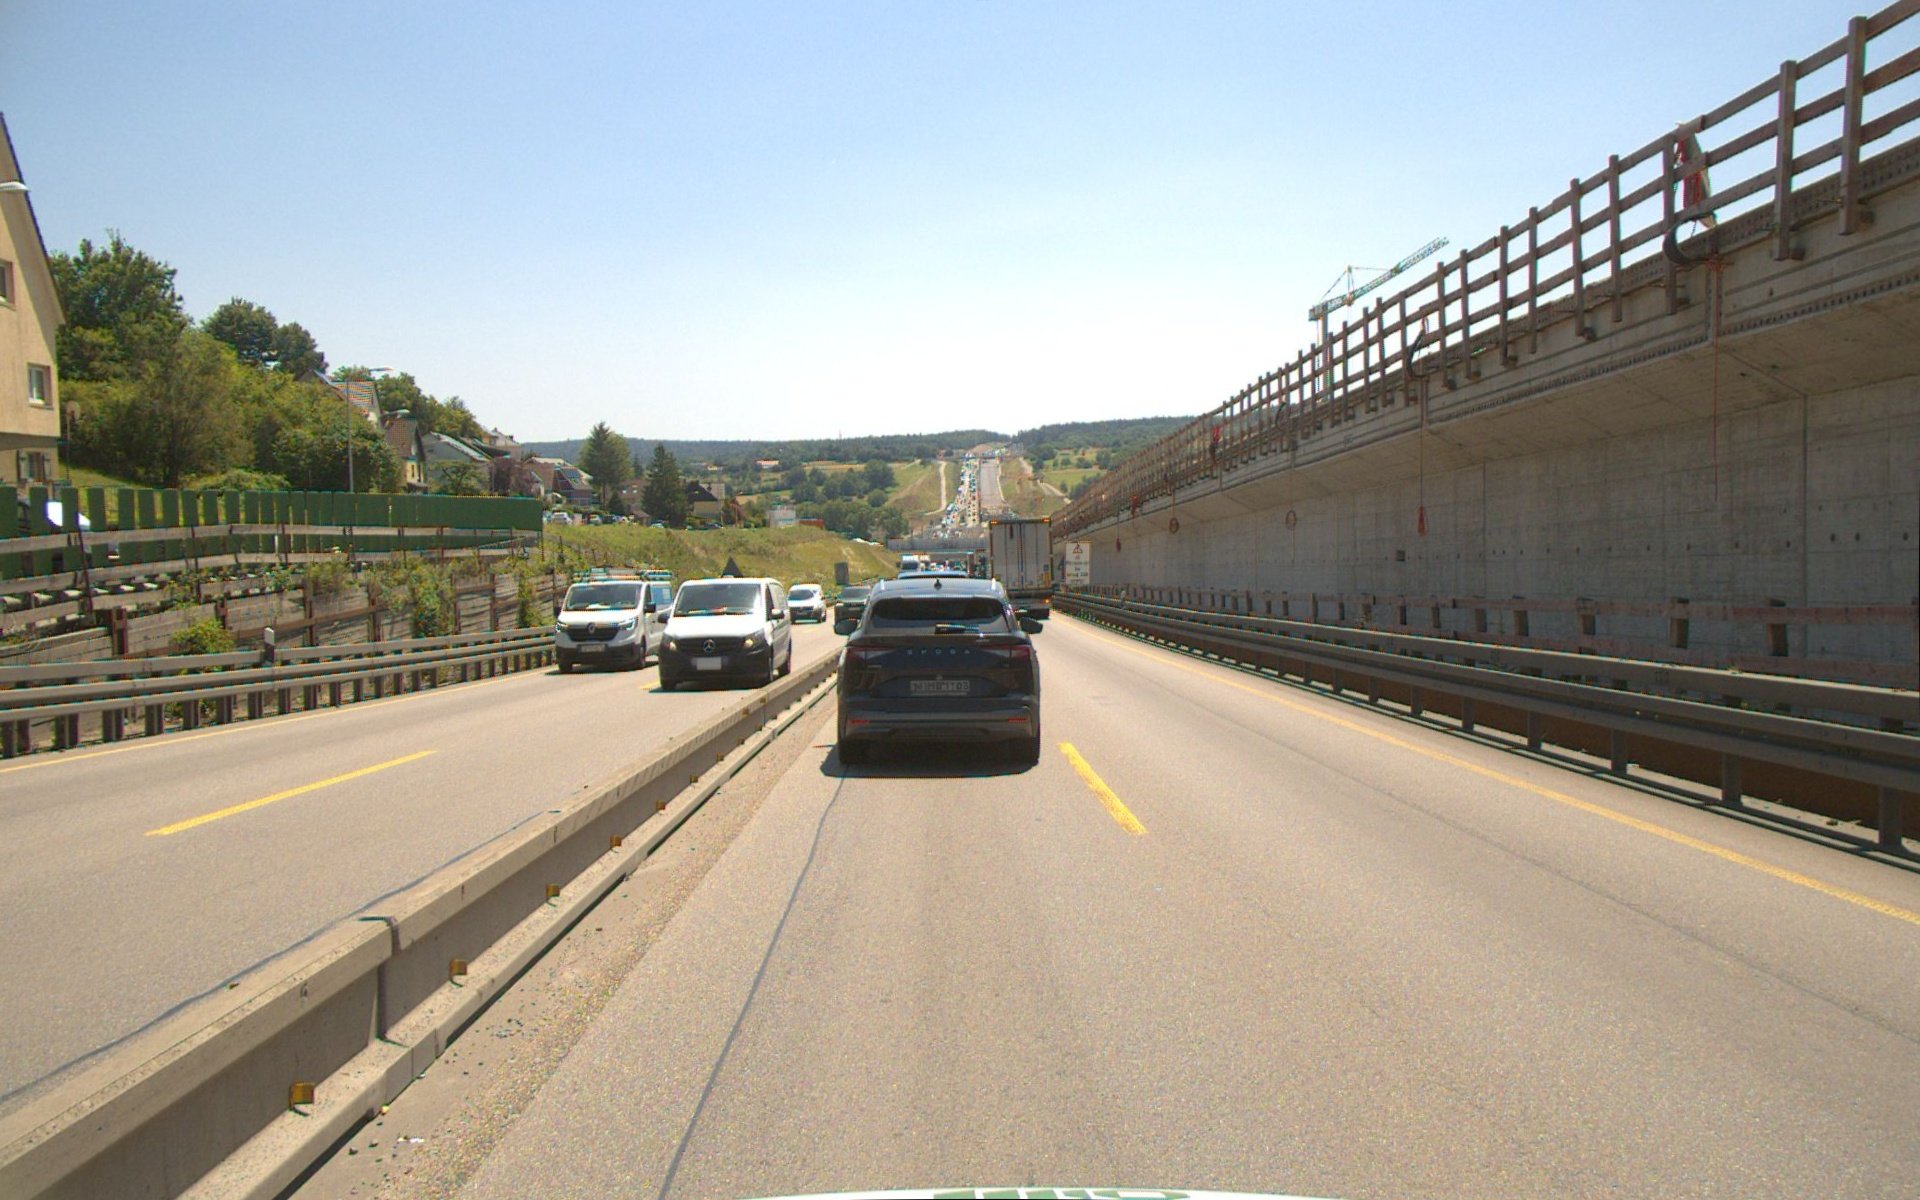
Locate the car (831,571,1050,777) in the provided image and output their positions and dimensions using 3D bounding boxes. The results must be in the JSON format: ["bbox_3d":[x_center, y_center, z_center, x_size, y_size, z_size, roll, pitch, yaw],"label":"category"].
[{"bbox_3d":[-0.193,0.593,15.489,1.747,1.625,3.754,-2,0,-1],"label":"car"}]

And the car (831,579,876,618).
[{"bbox_3d":[-4.659,-0.070,72.751,1.738,1.662,4.099,-1,0,-1],"label":"car"}]

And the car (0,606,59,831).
[{"bbox_3d":[-6.996,0.758,9.167,1.795,1.432,4.127,0,0,-1],"label":"car"}]

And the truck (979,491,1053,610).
[{"bbox_3d":[2.314,-1.953,72.232,2.787,4.696,11.811,-1,0,0],"label":"truck"}]

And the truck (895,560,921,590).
[{"bbox_3d":[-7.860,-3.721,249.975,3.121,4.312,6.472,-2,0,-8],"label":"truck"}]

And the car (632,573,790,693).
[{"bbox_3d":[-4.334,0.551,29.636,2.113,1.939,5.325,0,0,-1],"label":"car"}]

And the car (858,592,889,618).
[{"bbox_3d":[-5.061,0.305,97.028,1.697,1.463,4.257,0,0,-1],"label":"car"}]

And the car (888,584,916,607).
[{"bbox_3d":[-4.132,-0.286,118.399,1.573,1.471,4.671,-5,-1,2],"label":"car"}]

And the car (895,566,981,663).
[{"bbox_3d":[-0.518,0.281,34.961,1.714,1.928,3.753,0,0,-2],"label":"car"}]

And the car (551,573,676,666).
[{"bbox_3d":[-7.775,0.395,37.594,1.788,1.959,5.243,0,0,-1],"label":"car"}]

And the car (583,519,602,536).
[{"bbox_3d":[-42.201,-8.321,189.896,1.890,1.758,3.990,-2,1,-10],"label":"car"}]

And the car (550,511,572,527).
[{"bbox_3d":[-41.023,-8.333,170.012,1.958,1.343,3.989,1,0,-11],"label":"car"}]

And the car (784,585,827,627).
[{"bbox_3d":[-7.378,0.294,79.203,1.564,1.866,4.752,-2,0,-1],"label":"car"}]
